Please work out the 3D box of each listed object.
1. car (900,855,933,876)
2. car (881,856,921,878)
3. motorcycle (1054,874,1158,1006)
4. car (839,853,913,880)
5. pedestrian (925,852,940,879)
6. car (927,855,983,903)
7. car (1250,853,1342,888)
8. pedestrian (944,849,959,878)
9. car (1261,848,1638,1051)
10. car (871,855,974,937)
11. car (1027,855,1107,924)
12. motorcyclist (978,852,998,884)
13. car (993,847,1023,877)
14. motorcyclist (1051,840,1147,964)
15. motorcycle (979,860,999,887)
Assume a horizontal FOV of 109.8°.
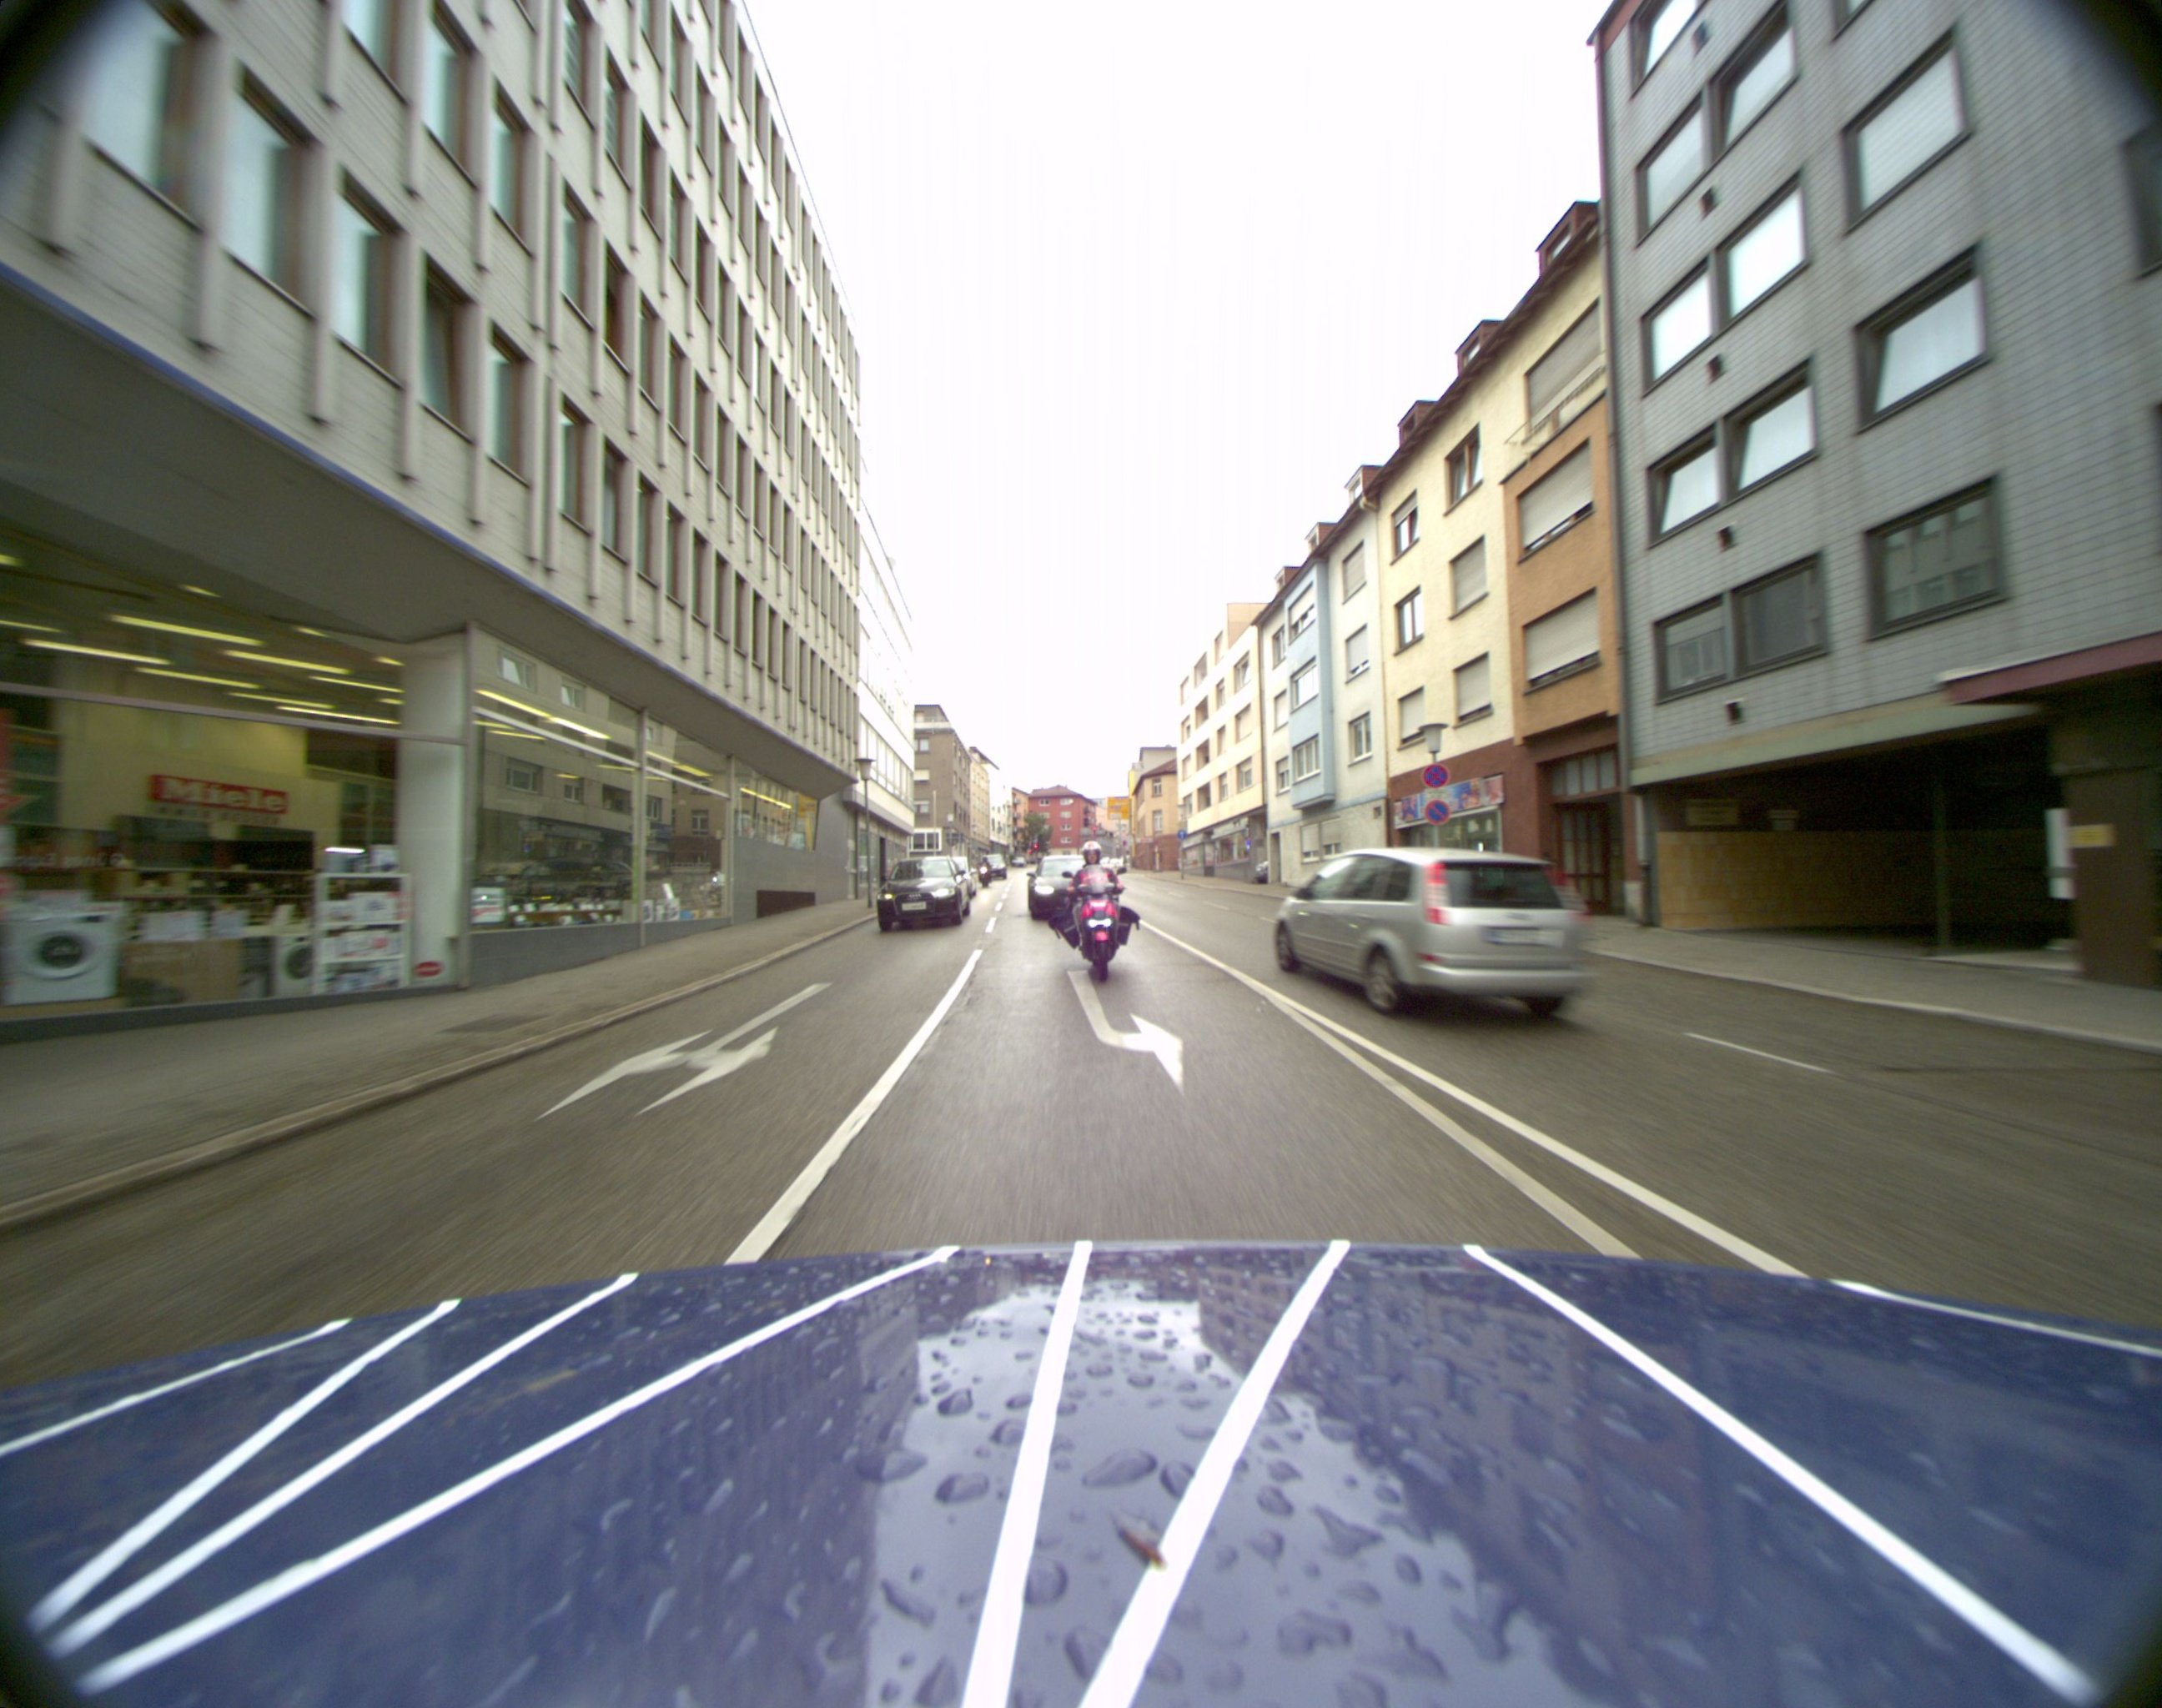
[{"bbox_3d":[-12.886,0.867,59.743,1.793,1.503,4.436,-1,0,-3],"label":"car"},{"bbox_3d":[-12.734,0.885,53.875,1.793,1.407,4.614,0,0,-1],"label":"car"},{"bbox_3d":[0.232,0.953,9.454,1.010,1.219,2.693,-5,1,-2],"label":"motorcycle"},{"bbox_3d":[-12.037,0.743,44.588,4.005,1.441,1.795,2,-1,-21],"label":"car"},{"bbox_3d":[-8.702,0.649,44.639,0.768,1.542,0.890,1,1,-7],"label":"pedestrian"},{"bbox_3d":[-4.736,0.887,29.092,1.832,1.532,4.249,-5,1,-7],"label":"car"},{"bbox_3d":[10.597,0.850,37.549,4.002,1.342,1.677,6,-3,-11],"label":"car"},{"bbox_3d":[-7.873,0.568,46.162,0.786,1.696,1.120,1,1,-7],"label":"pedestrian"},{"bbox_3d":[3.458,0.763,8.173,1.740,1.583,4.173,1,1,-4],"label":"car"},{"bbox_3d":[-3.624,0.884,18.070,1.828,1.551,4.199,-4,1,-5],"label":"car"},{"bbox_3d":[-0.463,0.793,19.167,1.706,1.452,4.316,-3,0,-4],"label":"car"},{"bbox_3d":[-4.745,0.693,38.676,0.847,1.580,0.962,-4,1,-9],"label":"motorcyclist"},{"bbox_3d":[-4.903,0.520,51.248,1.849,1.893,3.763,-1,1,-5],"label":"car"},{"bbox_3d":[0.204,0.557,9.295,1.010,1.373,0.834,-5,1,-2],"label":"motorcyclist"},{"bbox_3d":[-4.713,0.976,38.662,0.847,1.219,2.371,-4,1,-9],"label":"motorcycle"}]
